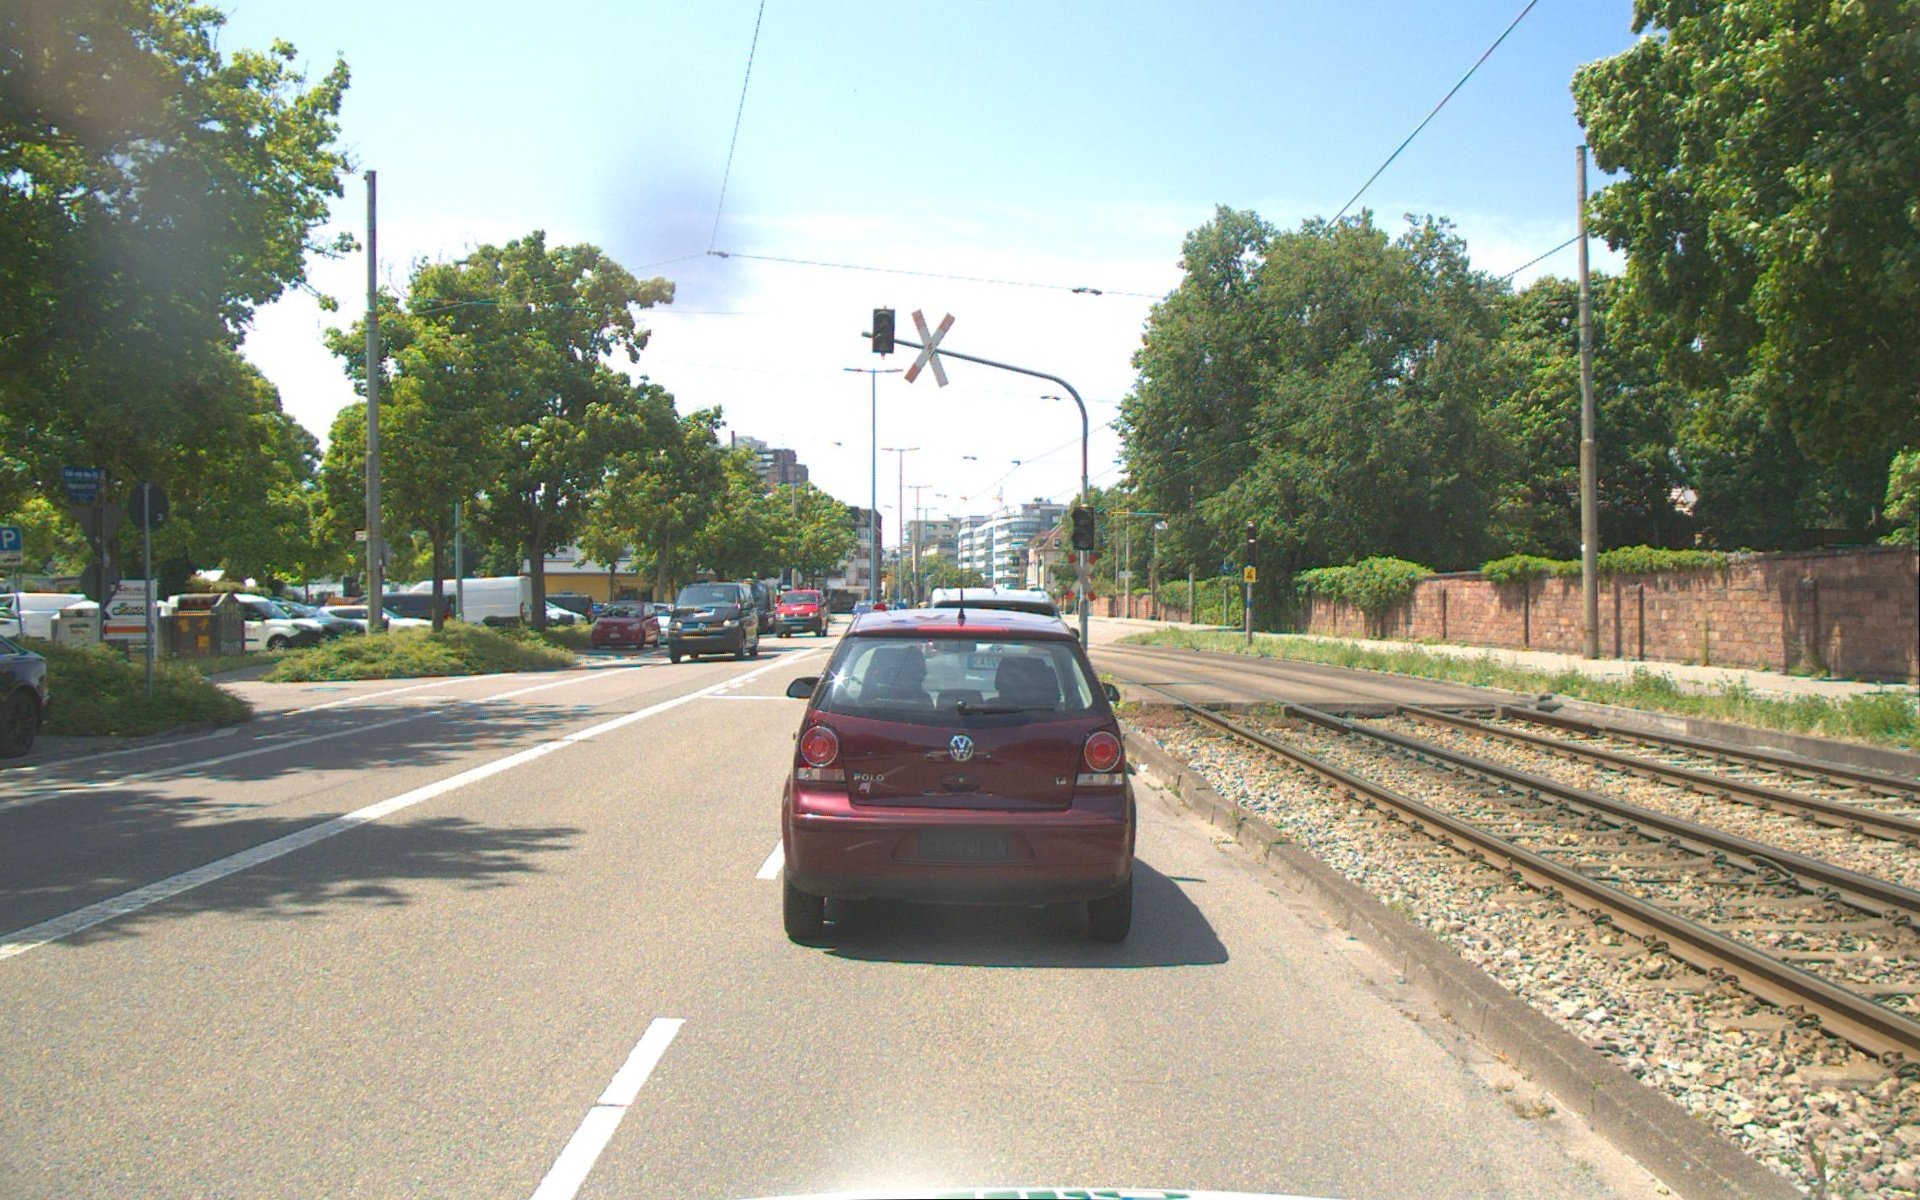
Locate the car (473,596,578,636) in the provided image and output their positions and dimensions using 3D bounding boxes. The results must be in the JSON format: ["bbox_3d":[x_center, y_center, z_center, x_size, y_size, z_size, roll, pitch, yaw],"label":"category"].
[{"bbox_3d":[-21.062,0.770,80.280,4.623,1.845,1.796,-1,0,-2],"label":"car"}]

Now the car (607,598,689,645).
[{"bbox_3d":[-10.817,0.716,57.646,1.683,1.452,4.773,-3,0,3],"label":"car"}]

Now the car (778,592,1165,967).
[{"bbox_3d":[0.018,0.739,8.817,1.577,1.524,3.999,1,0,-1],"label":"car"}]

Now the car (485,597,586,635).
[{"bbox_3d":[-21.249,0.785,82.957,4.623,1.845,1.796,-1,0,-2],"label":"car"}]

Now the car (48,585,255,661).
[{"bbox_3d":[-20.991,0.585,43.081,4.361,1.889,2.059,-1,0,-5],"label":"car"}]

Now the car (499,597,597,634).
[{"bbox_3d":[-21.229,0.776,85.302,4.623,1.845,1.796,-1,0,-2],"label":"car"}]

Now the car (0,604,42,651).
[{"bbox_3d":[-33.791,0.923,56.644,3.670,1.603,1.732,0,0,-2],"label":"car"}]

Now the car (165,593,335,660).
[{"bbox_3d":[-20.503,0.746,47.850,4.178,1.867,1.673,-1,0,1],"label":"car"}]

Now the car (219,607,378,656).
[{"bbox_3d":[-20.374,0.949,51.071,4.114,1.428,2.079,-1,0,-5],"label":"car"}]

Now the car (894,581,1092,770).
[{"bbox_3d":[0.224,0.691,17.178,1.759,1.712,3.998,1,0,-3],"label":"car"}]

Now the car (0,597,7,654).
[{"bbox_3d":[-33.498,0.822,53.758,4.044,1.852,1.647,0,0,-2],"label":"car"}]

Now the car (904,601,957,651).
[{"bbox_3d":[-0.903,0.792,51.944,1.519,1.473,3.412,1,0,1],"label":"car"}]

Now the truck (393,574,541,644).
[{"bbox_3d":[-20.701,0.372,69.607,5.463,2.808,2.432,-1,0,0],"label":"truck"}]

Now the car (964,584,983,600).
[{"bbox_3d":[1.633,-0.985,206.404,1.881,1.944,4.566,0,0,-5],"label":"car"}]

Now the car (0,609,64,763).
[{"bbox_3d":[-10.231,0.837,14.920,1.856,1.482,4.807,1,0,-3],"label":"car"}]

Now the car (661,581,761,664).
[{"bbox_3d":[-6.282,0.541,42.203,1.879,1.944,4.570,-1,0,-1],"label":"car"}]

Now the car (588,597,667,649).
[{"bbox_3d":[-10.573,0.720,52.809,1.637,1.573,3.727,1,-1,2],"label":"car"}]

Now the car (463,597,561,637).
[{"bbox_3d":[-21.046,0.783,77.825,4.125,1.796,1.856,-1,0,-2],"label":"car"}]

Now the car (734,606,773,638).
[{"bbox_3d":[-10.130,1.063,81.200,1.376,1.465,3.839,3,0,0],"label":"car"}]

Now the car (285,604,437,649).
[{"bbox_3d":[-21.232,0.912,58.771,4.665,1.514,2.057,-1,0,-2],"label":"car"}]

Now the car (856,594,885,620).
[{"bbox_3d":[-5.904,0.456,109.352,1.702,1.686,4.066,-1,0,-1],"label":"car"}]

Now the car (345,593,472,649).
[{"bbox_3d":[-20.571,0.759,61.808,4.125,2.030,1.856,-1,0,-2],"label":"car"}]

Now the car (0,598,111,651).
[{"bbox_3d":[-32.838,0.874,59.026,4.044,1.852,1.970,0,0,-2],"label":"car"}]

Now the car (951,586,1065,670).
[{"bbox_3d":[1.094,0.571,35.569,1.736,1.659,4.003,1,0,12],"label":"car"}]

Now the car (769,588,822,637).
[{"bbox_3d":[-6.880,0.508,69.552,1.861,1.959,4.817,-1,0,-2],"label":"car"}]
